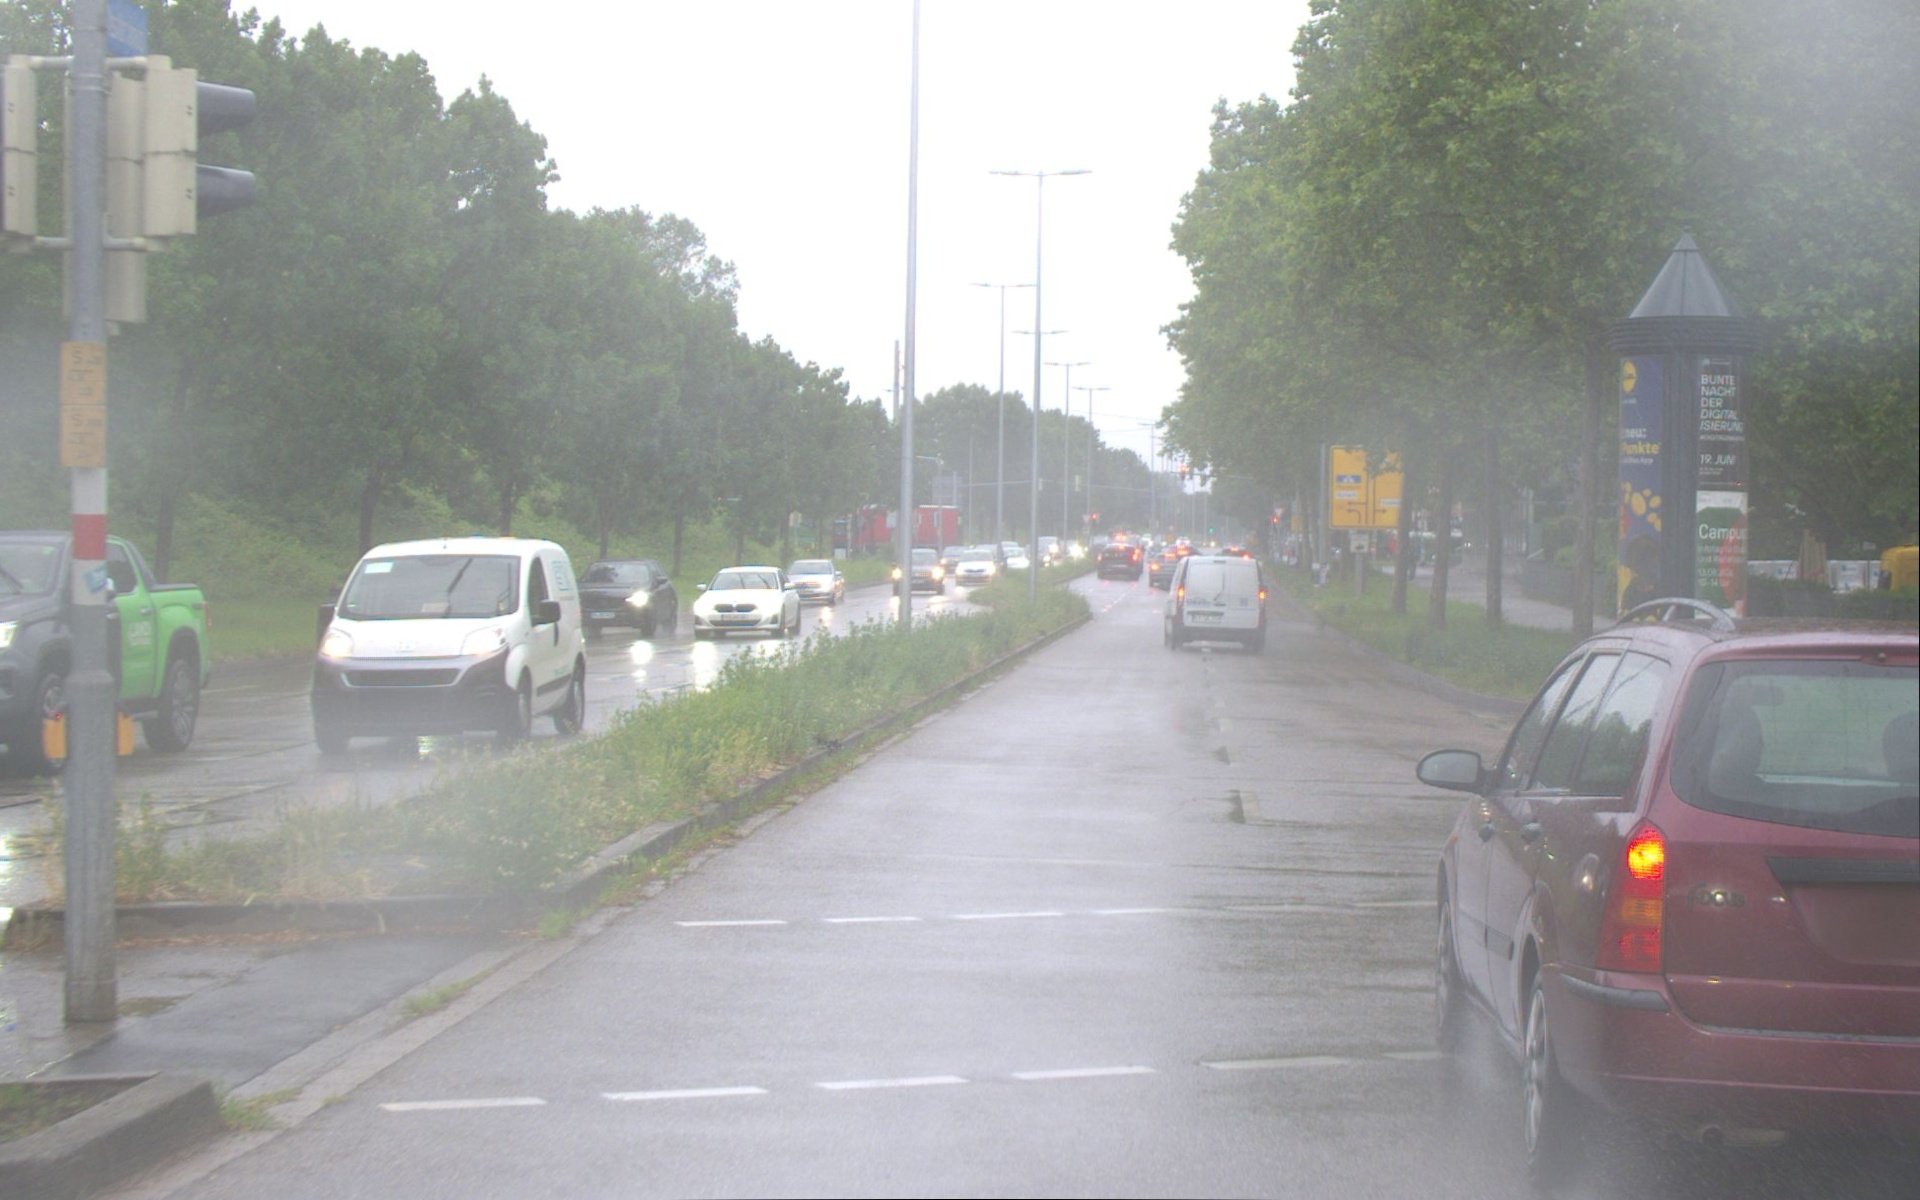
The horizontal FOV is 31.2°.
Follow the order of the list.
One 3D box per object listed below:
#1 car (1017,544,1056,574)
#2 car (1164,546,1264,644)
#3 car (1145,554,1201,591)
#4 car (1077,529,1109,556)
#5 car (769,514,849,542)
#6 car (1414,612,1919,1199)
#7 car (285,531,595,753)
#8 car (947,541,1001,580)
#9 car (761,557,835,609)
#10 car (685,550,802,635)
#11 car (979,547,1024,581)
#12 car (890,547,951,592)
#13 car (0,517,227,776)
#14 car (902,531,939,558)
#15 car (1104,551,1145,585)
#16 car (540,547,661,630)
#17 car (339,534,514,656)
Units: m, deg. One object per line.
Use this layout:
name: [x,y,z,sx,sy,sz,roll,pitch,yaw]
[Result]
car: [4.245,-2.254,189.472,1.963,1.591,4.283,0,1,4]
car: [4.807,-0.130,65.489,1.736,1.720,4.243,2,1,3]
car: [8.986,-1.164,144.619,2.148,1.522,4.191,1,1,6]
car: [7.810,-3.372,201.691,1.698,1.522,3.845,1,1,5]
car: [-8.875,-4.225,201.587,4.270,1.591,1.969,0,1,-31]
car: [2.284,0.845,9.557,1.642,1.460,3.732,3,1,3]
car: [-4.260,0.292,28.792,1.744,1.696,4.284,-1,1,3]
car: [0.600,-1.668,143.592,1.963,1.591,4.283,0,1,4]
car: [-5.098,-0.556,108.786,1.963,1.591,4.284,0,1,3]
car: [-4.450,-0.186,71.374,1.963,1.696,4.284,0,1,3]
car: [2.039,-1.772,166.862,1.963,1.591,4.283,0,1,4]
car: [-1.427,-1.129,124.797,1.963,1.591,4.284,0,1,3]
car: [-7.480,0.271,26.936,2.065,1.813,5.541,0,1,3]
car: [-2.327,-3.300,203.729,1.963,1.591,4.284,0,1,3]
car: [7.632,-1.506,159.324,1.698,1.522,3.845,1,1,5]
car: [-7.646,-0.266,73.459,1.963,1.696,4.284,0,1,3]
car: [-8.086,-0.113,52.483,1.744,1.696,4.284,3,1,3]
